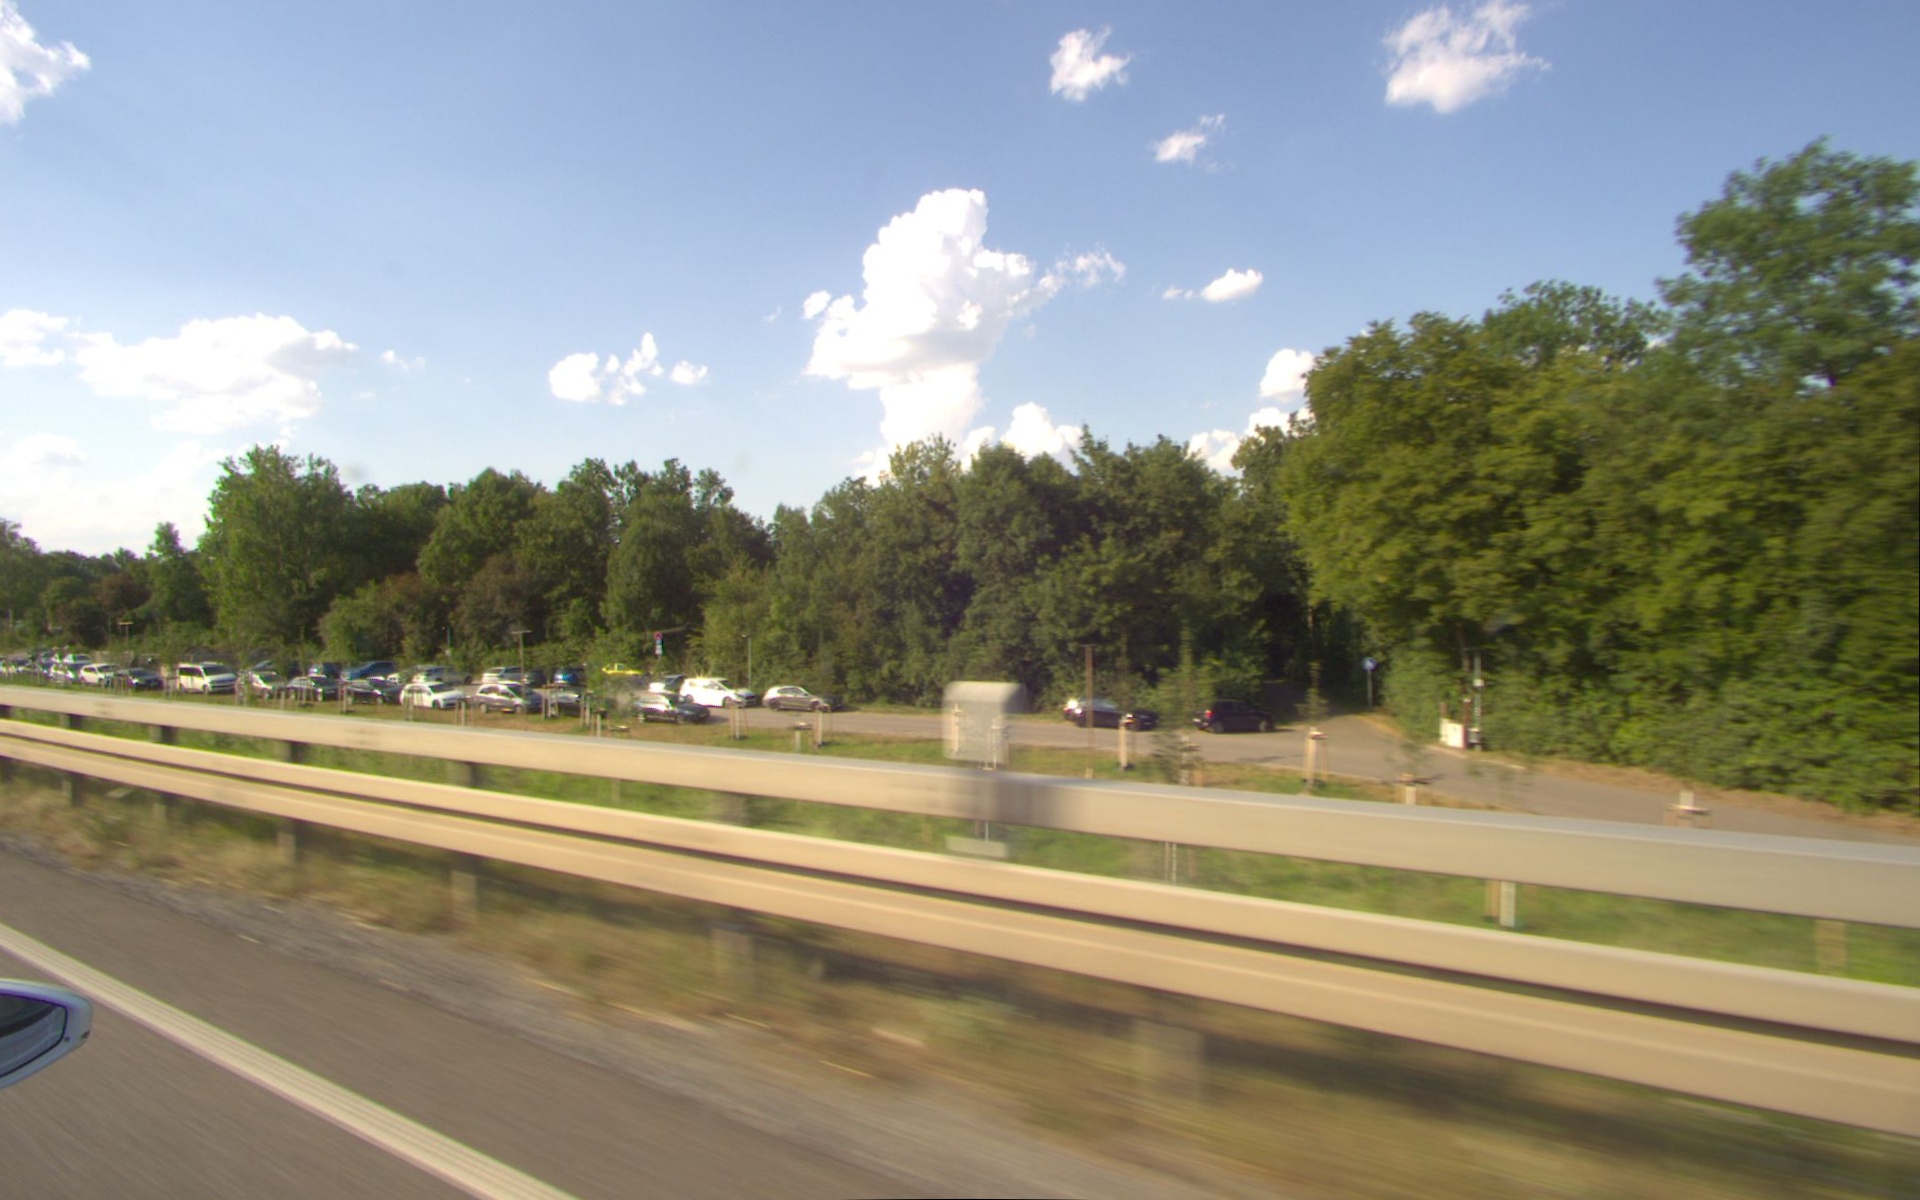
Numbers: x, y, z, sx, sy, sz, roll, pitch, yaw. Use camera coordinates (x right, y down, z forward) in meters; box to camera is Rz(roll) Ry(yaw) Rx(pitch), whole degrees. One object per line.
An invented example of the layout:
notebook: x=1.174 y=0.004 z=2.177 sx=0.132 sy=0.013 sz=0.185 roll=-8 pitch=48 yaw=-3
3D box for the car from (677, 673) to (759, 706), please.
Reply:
car: x=-13.948 y=5.112 z=57.681 sx=4.633 sy=1.688 sz=1.654 roll=-1 pitch=0 yaw=26

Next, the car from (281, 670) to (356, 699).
car: x=-41.360 y=5.445 z=64.587 sx=4.319 sy=1.503 sz=1.818 roll=0 pitch=2 yaw=21

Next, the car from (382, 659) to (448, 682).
car: x=-40.893 y=5.290 z=75.214 sx=1.741 sy=1.517 sz=4.240 roll=1 pitch=-1 yaw=19

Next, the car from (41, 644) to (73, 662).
car: x=-89.026 y=5.199 z=98.663 sx=4.728 sy=1.418 sz=1.692 roll=0 pitch=3 yaw=40

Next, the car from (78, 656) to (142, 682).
car: x=-64.904 y=5.265 z=76.445 sx=4.704 sy=1.581 sz=1.890 roll=1 pitch=4 yaw=25

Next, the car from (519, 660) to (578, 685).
car: x=-29.726 y=5.243 z=72.460 sx=1.588 sy=1.475 sz=4.239 roll=1 pitch=0 yaw=18

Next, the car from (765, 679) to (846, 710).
car: x=-8.496 y=5.163 z=55.012 sx=4.152 sy=1.516 sz=1.655 roll=-1 pitch=0 yaw=23

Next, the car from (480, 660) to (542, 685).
car: x=-32.724 y=5.265 z=73.118 sx=1.703 sy=1.475 sz=4.410 roll=1 pitch=0 yaw=15

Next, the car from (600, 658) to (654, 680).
car: x=-25.248 y=5.235 z=75.958 sx=3.607 sy=1.476 sz=1.497 roll=0 pitch=1 yaw=14

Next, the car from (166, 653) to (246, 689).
car: x=-52.282 y=4.894 z=69.450 sx=5.291 sy=2.046 sz=2.117 roll=1 pitch=4 yaw=25

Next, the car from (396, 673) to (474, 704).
car: x=-31.477 y=5.300 z=60.020 sx=4.183 sy=1.503 sz=1.819 roll=0 pitch=2 yaw=21

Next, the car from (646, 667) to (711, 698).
car: x=-17.708 y=5.170 z=63.134 sx=1.591 sy=1.476 sz=4.232 roll=1 pitch=1 yaw=24

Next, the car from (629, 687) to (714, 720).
car: x=-15.079 y=5.394 z=52.408 sx=4.152 sy=1.516 sz=1.655 roll=-1 pitch=0 yaw=23

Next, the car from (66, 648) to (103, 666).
car: x=-81.531 y=5.278 z=93.219 sx=3.892 sy=1.530 sz=1.696 roll=-1 pitch=0 yaw=35

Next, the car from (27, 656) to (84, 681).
car: x=-73.844 y=5.558 z=81.748 sx=4.707 sy=1.581 sz=1.889 roll=1 pitch=4 yaw=28

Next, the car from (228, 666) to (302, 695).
car: x=-46.168 y=5.309 z=66.519 sx=4.704 sy=1.503 sz=1.890 roll=1 pitch=4 yaw=25

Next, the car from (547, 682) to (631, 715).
car: x=-20.585 y=5.432 z=55.593 sx=4.183 sy=1.420 sz=1.819 roll=0 pitch=2 yaw=21

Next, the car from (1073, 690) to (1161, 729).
car: x=7.368 y=5.120 z=47.036 sx=3.774 sy=1.516 sz=1.651 roll=-1 pitch=0 yaw=32

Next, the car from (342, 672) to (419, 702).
car: x=-35.894 y=5.365 z=62.063 sx=4.319 sy=1.503 sz=1.818 roll=0 pitch=2 yaw=21

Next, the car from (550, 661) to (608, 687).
car: x=-27.276 y=5.264 z=71.765 sx=1.588 sy=1.475 sz=4.238 roll=1 pitch=1 yaw=18

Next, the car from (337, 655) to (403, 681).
car: x=-45.911 y=5.245 z=77.987 sx=1.801 sy=1.765 sz=4.239 roll=1 pitch=-1 yaw=19

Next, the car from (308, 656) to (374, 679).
car: x=-49.215 y=5.332 z=79.696 sx=1.803 sy=1.625 sz=4.235 roll=0 pitch=-1 yaw=24

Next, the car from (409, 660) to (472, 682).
car: x=-38.356 y=5.225 z=74.089 sx=1.589 sy=1.475 sz=4.240 roll=0 pitch=-1 yaw=18

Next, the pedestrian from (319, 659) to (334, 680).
pedestrian: x=-48.919 y=5.338 z=77.281 sx=0.908 sy=1.491 sz=0.883 roll=-2 pitch=3 yaw=-31

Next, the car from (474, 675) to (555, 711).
car: x=-25.626 y=5.322 z=57.586 sx=4.183 sy=1.681 sz=1.818 roll=0 pitch=2 yaw=21

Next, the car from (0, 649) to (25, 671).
car: x=-84.895 y=5.320 z=88.467 sx=4.707 sy=1.581 sz=1.889 roll=1 pitch=4 yaw=28

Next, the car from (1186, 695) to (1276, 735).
car: x=12.296 y=5.198 z=45.464 sx=3.619 sy=1.516 sz=1.657 roll=-1 pitch=0 yaw=-17

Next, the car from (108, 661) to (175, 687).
car: x=-59.909 y=5.374 z=73.313 sx=4.704 sy=1.503 sz=1.890 roll=1 pitch=4 yaw=25
